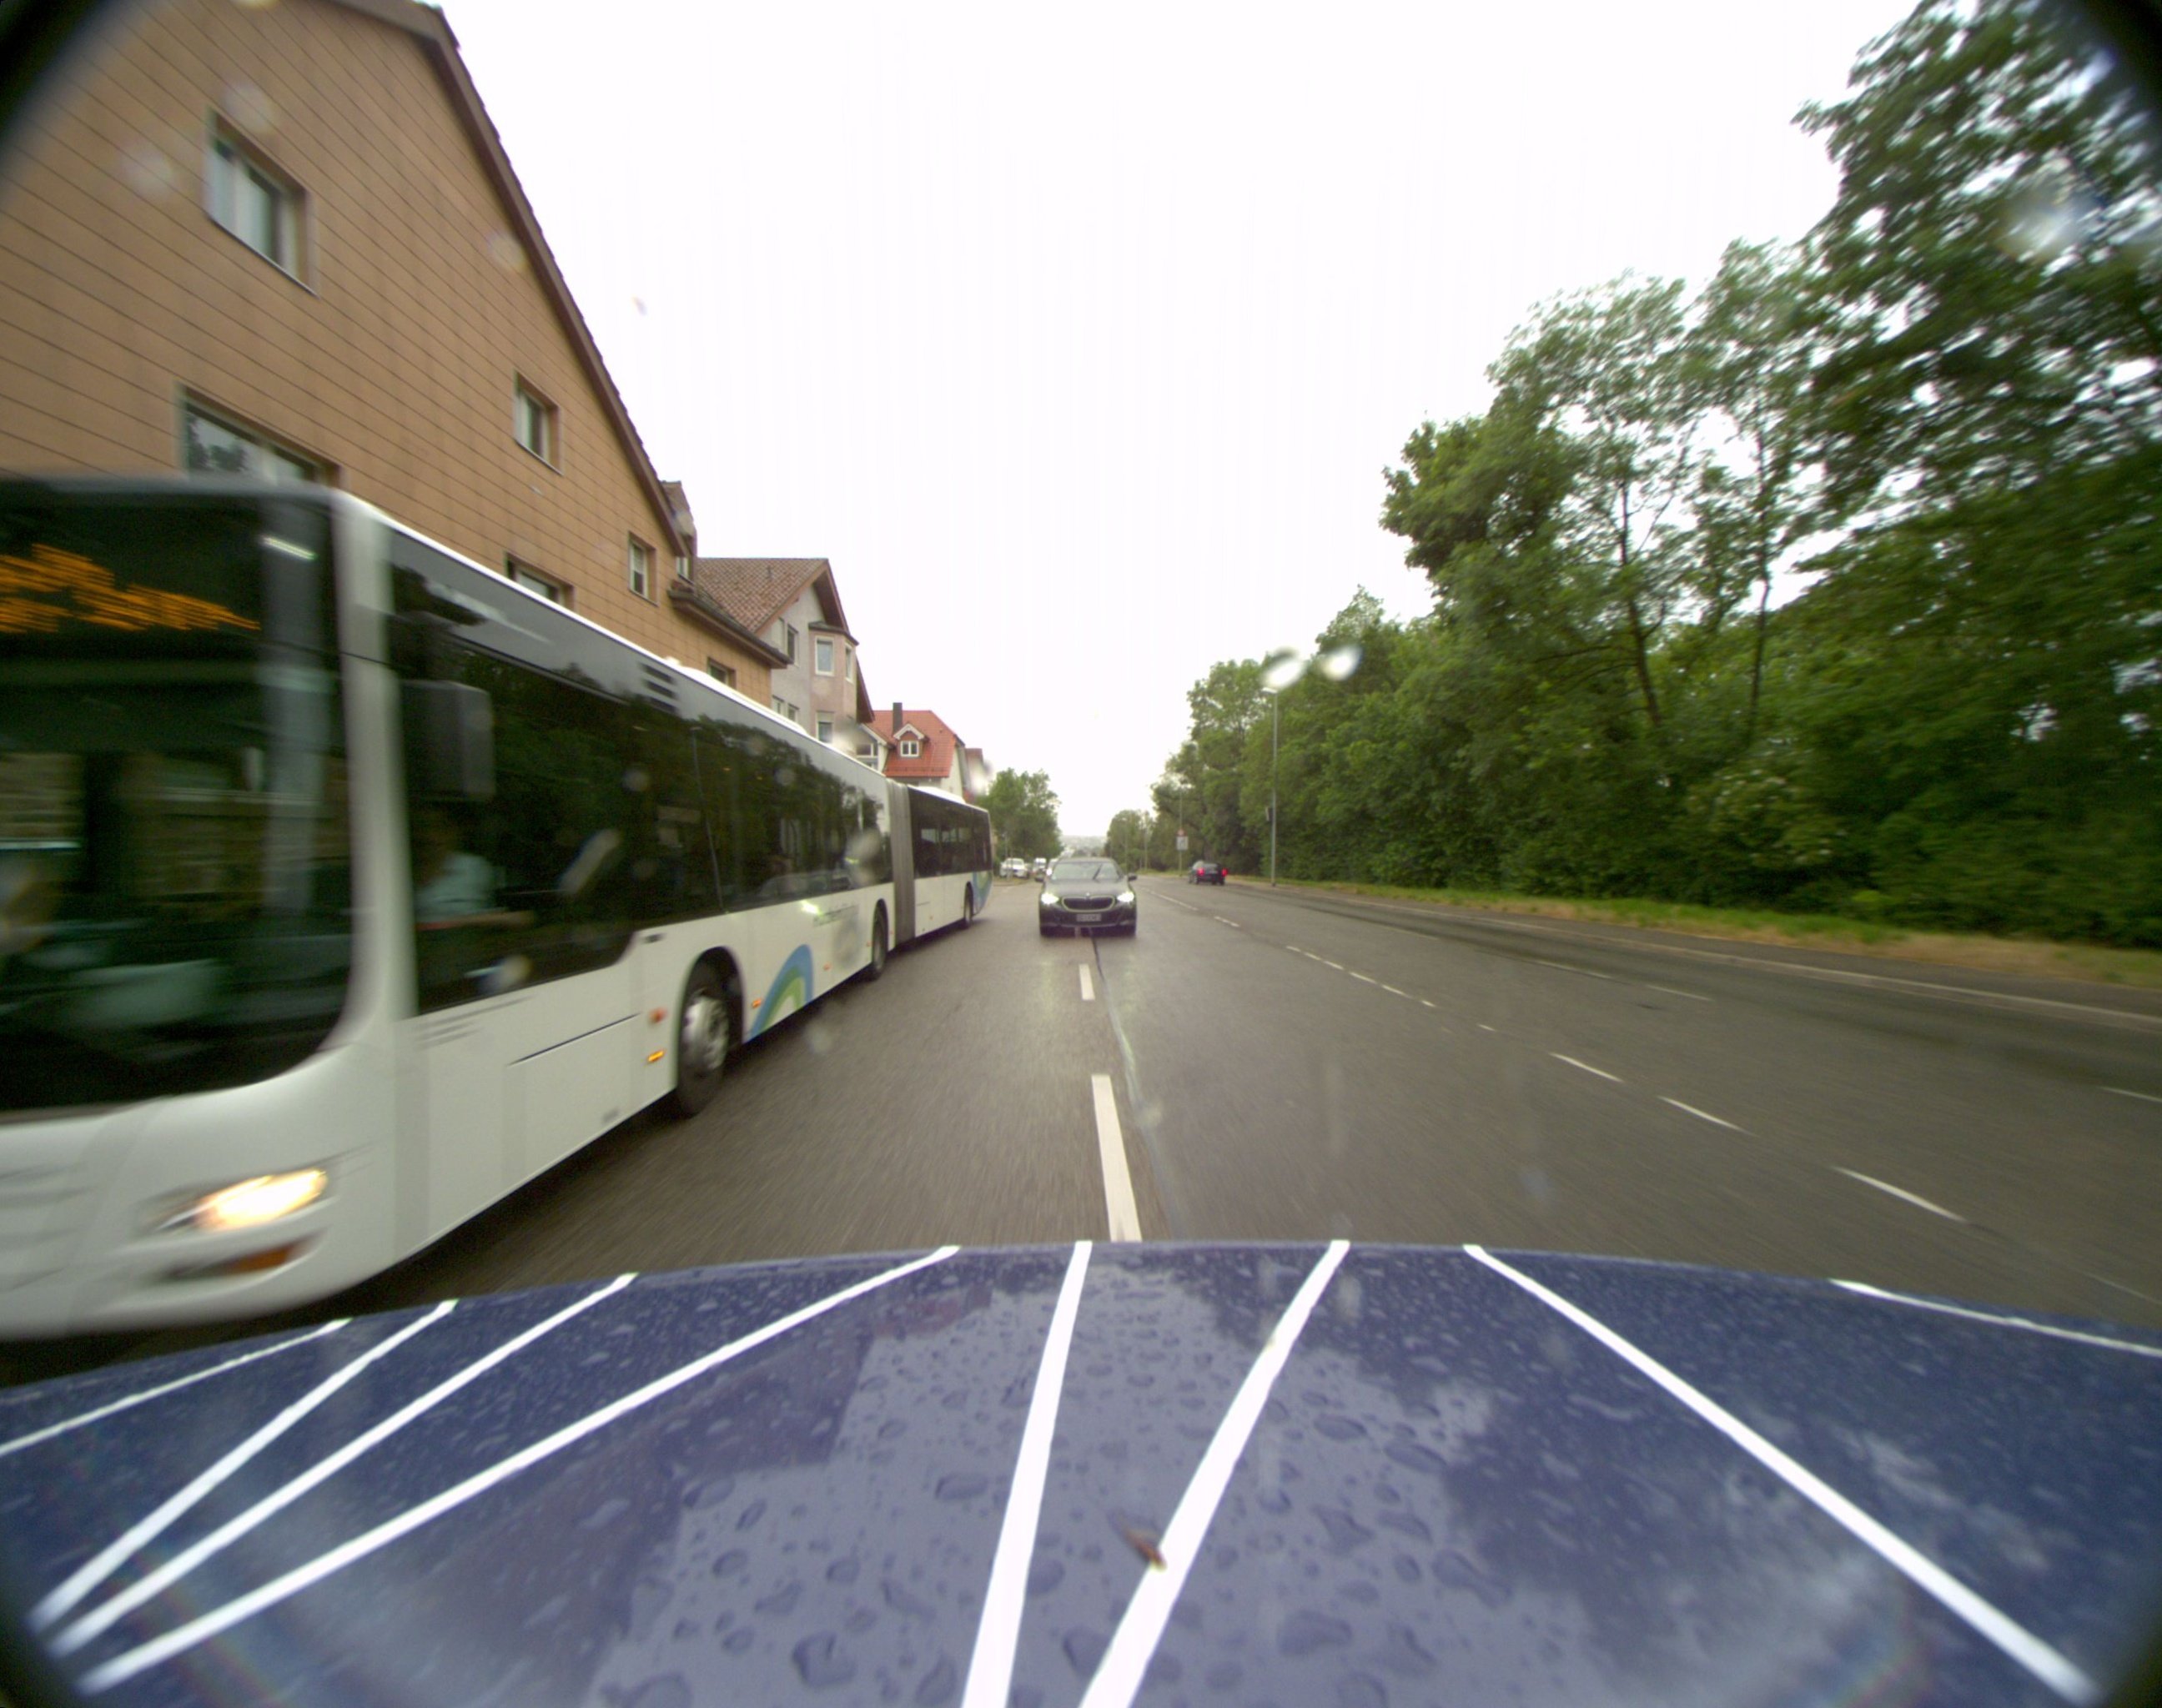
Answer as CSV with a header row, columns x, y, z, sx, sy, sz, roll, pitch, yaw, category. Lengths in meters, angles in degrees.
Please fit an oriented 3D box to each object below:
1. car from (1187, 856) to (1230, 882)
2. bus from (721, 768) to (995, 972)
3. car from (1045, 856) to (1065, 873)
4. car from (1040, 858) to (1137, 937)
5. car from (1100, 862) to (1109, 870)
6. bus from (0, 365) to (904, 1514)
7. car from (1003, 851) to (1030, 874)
x,y,z,sx,sy,sz,roll,pitch,yaw,category
7.770,0.888,46.700,1.749,1.423,4.388,2,0,-2,car
-3.751,0.231,15.370,2.561,2.942,8.559,-1,0,3,bus
-2.582,1.004,74.756,1.927,1.587,4.482,0,0,-2,car
0.108,0.858,17.012,1.855,1.461,4.482,-1,0,-1,car
5.335,2.647,170.681,1.891,1.587,4.363,0,0,0,car
-3.699,0.236,6.619,2.563,2.942,9.446,-1,0,-3,bus
-5.078,0.620,60.310,1.927,1.652,4.481,2,1,-2,car
